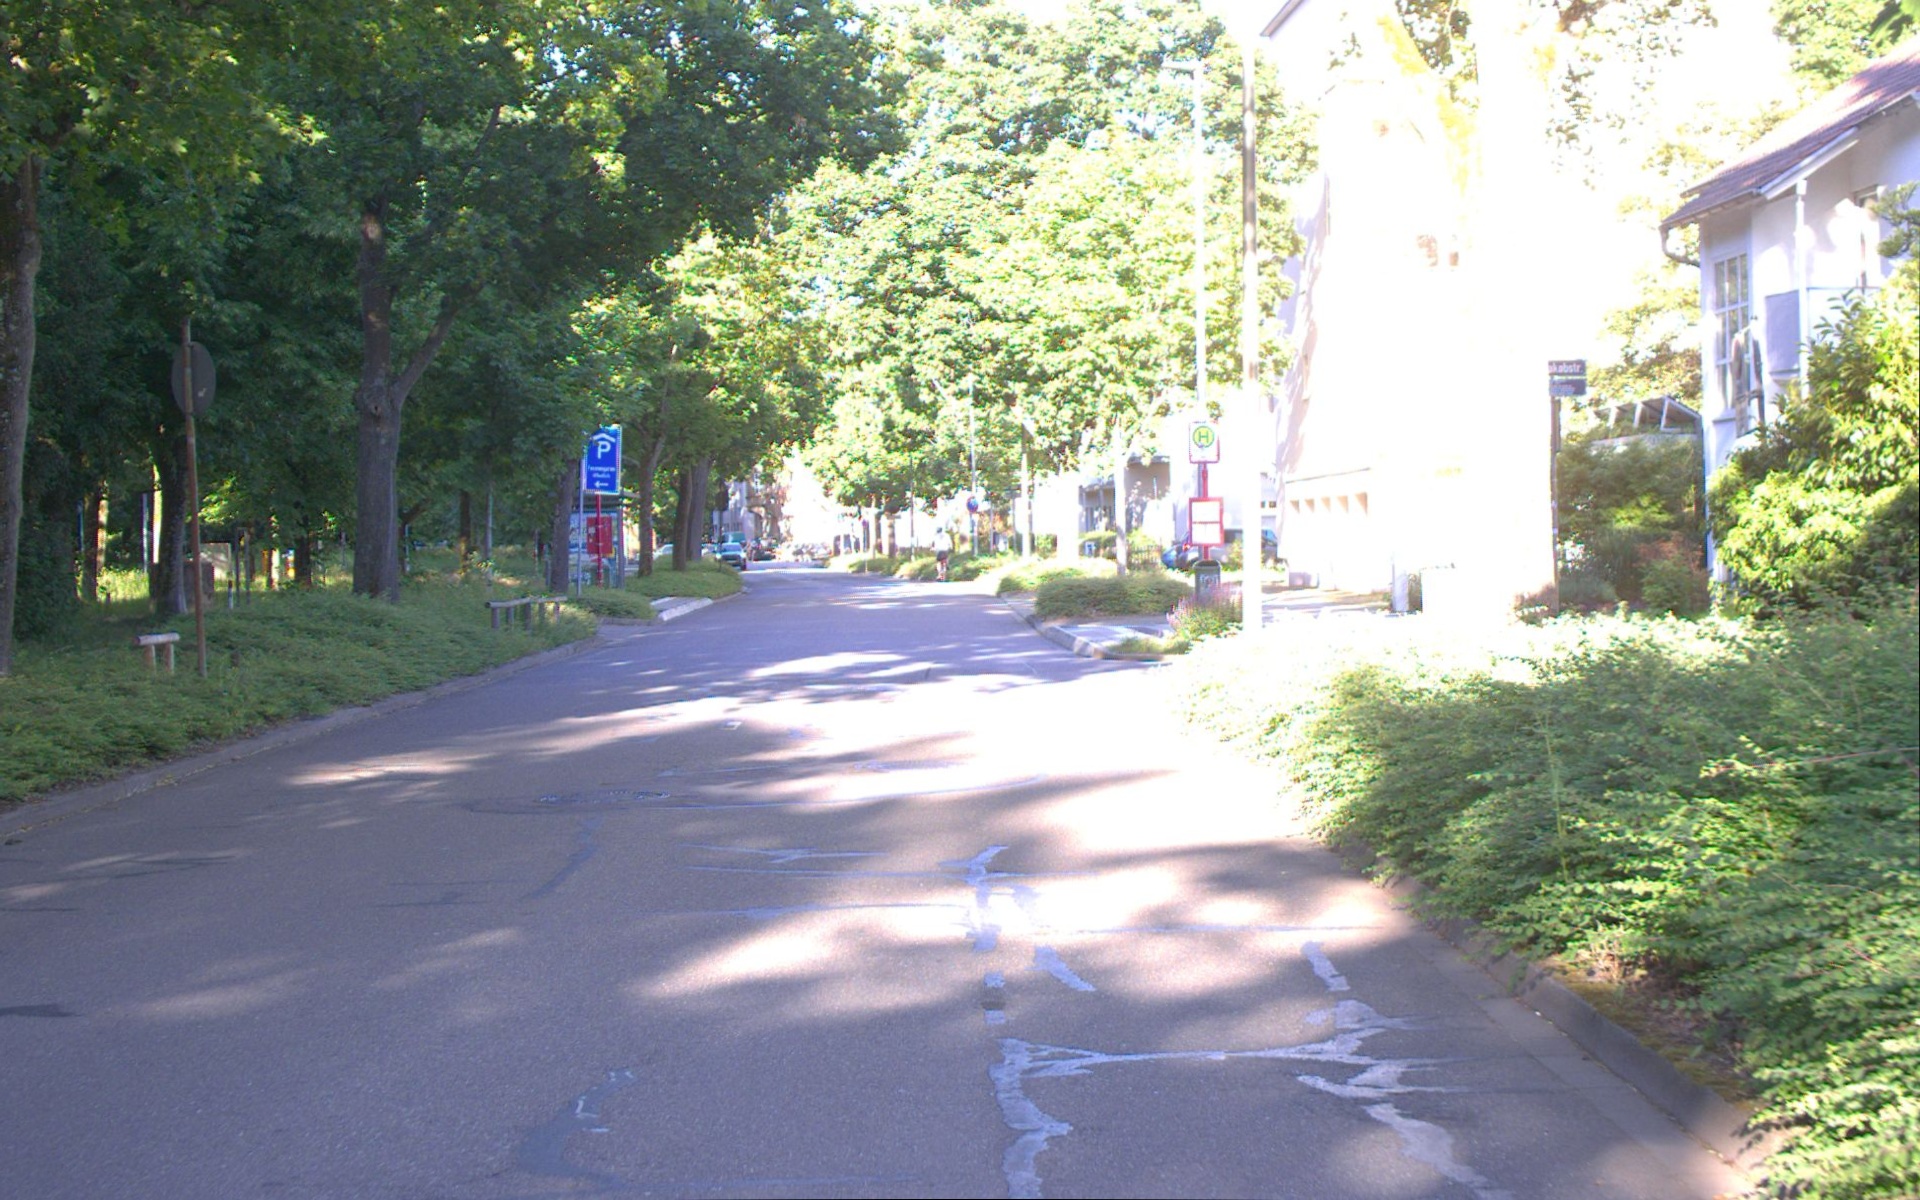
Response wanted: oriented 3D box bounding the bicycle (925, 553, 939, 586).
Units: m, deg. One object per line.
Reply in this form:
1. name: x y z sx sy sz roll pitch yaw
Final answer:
1. bicycle: -0.892 -0.976 109.340 0.439 0.975 1.661 -1 2 -1

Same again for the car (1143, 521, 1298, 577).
1. car: 7.797 -1.538 102.736 4.352 1.349 2.143 3 5 11

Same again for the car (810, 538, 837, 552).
1. car: -9.579 -3.871 241.247 1.838 0.988 3.820 0 1 -2

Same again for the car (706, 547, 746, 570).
1. car: -13.822 -2.467 203.206 1.993 1.349 3.541 0 1 -10

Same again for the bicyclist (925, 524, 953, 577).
1. bicyclist: -0.663 -1.574 109.344 0.867 1.635 1.115 0 2 -1
